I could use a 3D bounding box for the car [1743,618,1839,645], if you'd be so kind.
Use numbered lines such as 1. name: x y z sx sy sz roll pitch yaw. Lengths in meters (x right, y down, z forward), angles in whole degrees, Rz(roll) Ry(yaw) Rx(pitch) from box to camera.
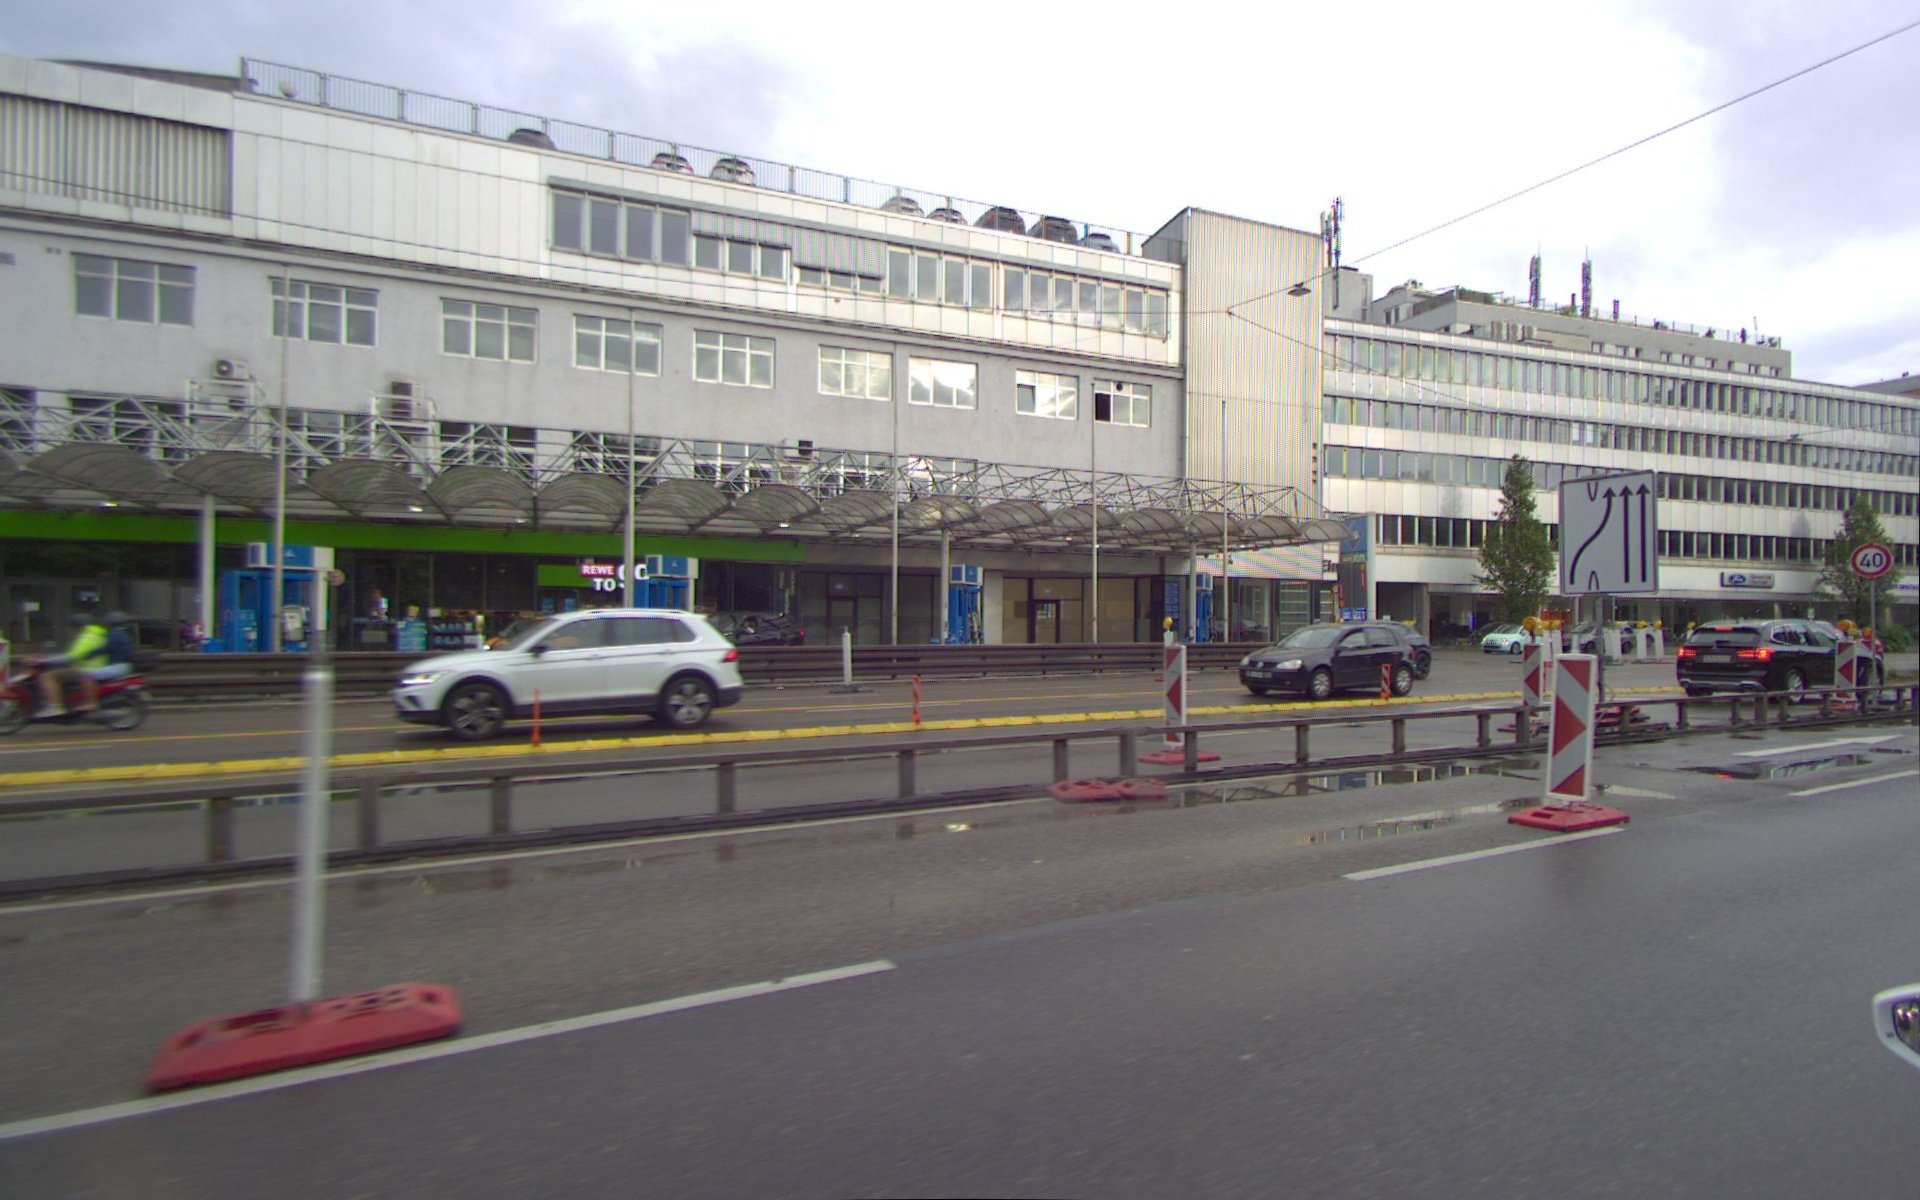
1. car: 59.711 2.281 72.275 4.890 1.922 2.000 -1 -2 19

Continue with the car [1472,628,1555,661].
1. car: 26.841 2.129 48.671 3.704 1.555 1.648 1 -2 -25

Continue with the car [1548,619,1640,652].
1. car: 35.318 1.963 55.961 4.657 1.802 1.847 1 -2 -19

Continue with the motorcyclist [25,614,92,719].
1. motorcyclist: -12.229 0.883 13.641 0.554 1.381 0.585 0 -2 -30

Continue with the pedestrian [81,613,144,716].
1. pedestrian: -11.744 0.880 13.936 0.554 1.381 0.585 0 -2 -30

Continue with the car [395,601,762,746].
1. car: -5.229 0.927 13.920 4.526 1.712 1.929 1 -2 -30

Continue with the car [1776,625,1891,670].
1. car: 29.706 1.594 34.139 4.240 1.422 1.727 1 -1 -31

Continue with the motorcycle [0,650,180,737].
1. motorcycle: -12.016 1.253 13.765 2.003 1.117 0.576 1 -2 -30

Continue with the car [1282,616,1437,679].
1. car: 10.547 1.218 26.463 4.030 1.556 1.702 1 -2 -31

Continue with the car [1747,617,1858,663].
1. car: 33.555 1.568 39.983 4.776 1.730 1.970 1 -2 -31

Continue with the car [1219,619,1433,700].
1. car: 7.620 1.164 20.867 4.249 1.541 1.950 1 -1 -30

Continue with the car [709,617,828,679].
1. car: -5.580 1.429 29.931 1.973 1.701 4.483 -1 -3 11

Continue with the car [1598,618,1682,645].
1. car: 44.298 2.062 65.547 4.304 1.673 1.853 -1 -2 26

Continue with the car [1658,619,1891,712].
1. car: 16.847 1.266 20.755 4.607 1.619 1.941 0 2 -26

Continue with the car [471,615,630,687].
1. car: -11.096 1.390 27.610 1.927 1.793 4.450 -1 -3 11
